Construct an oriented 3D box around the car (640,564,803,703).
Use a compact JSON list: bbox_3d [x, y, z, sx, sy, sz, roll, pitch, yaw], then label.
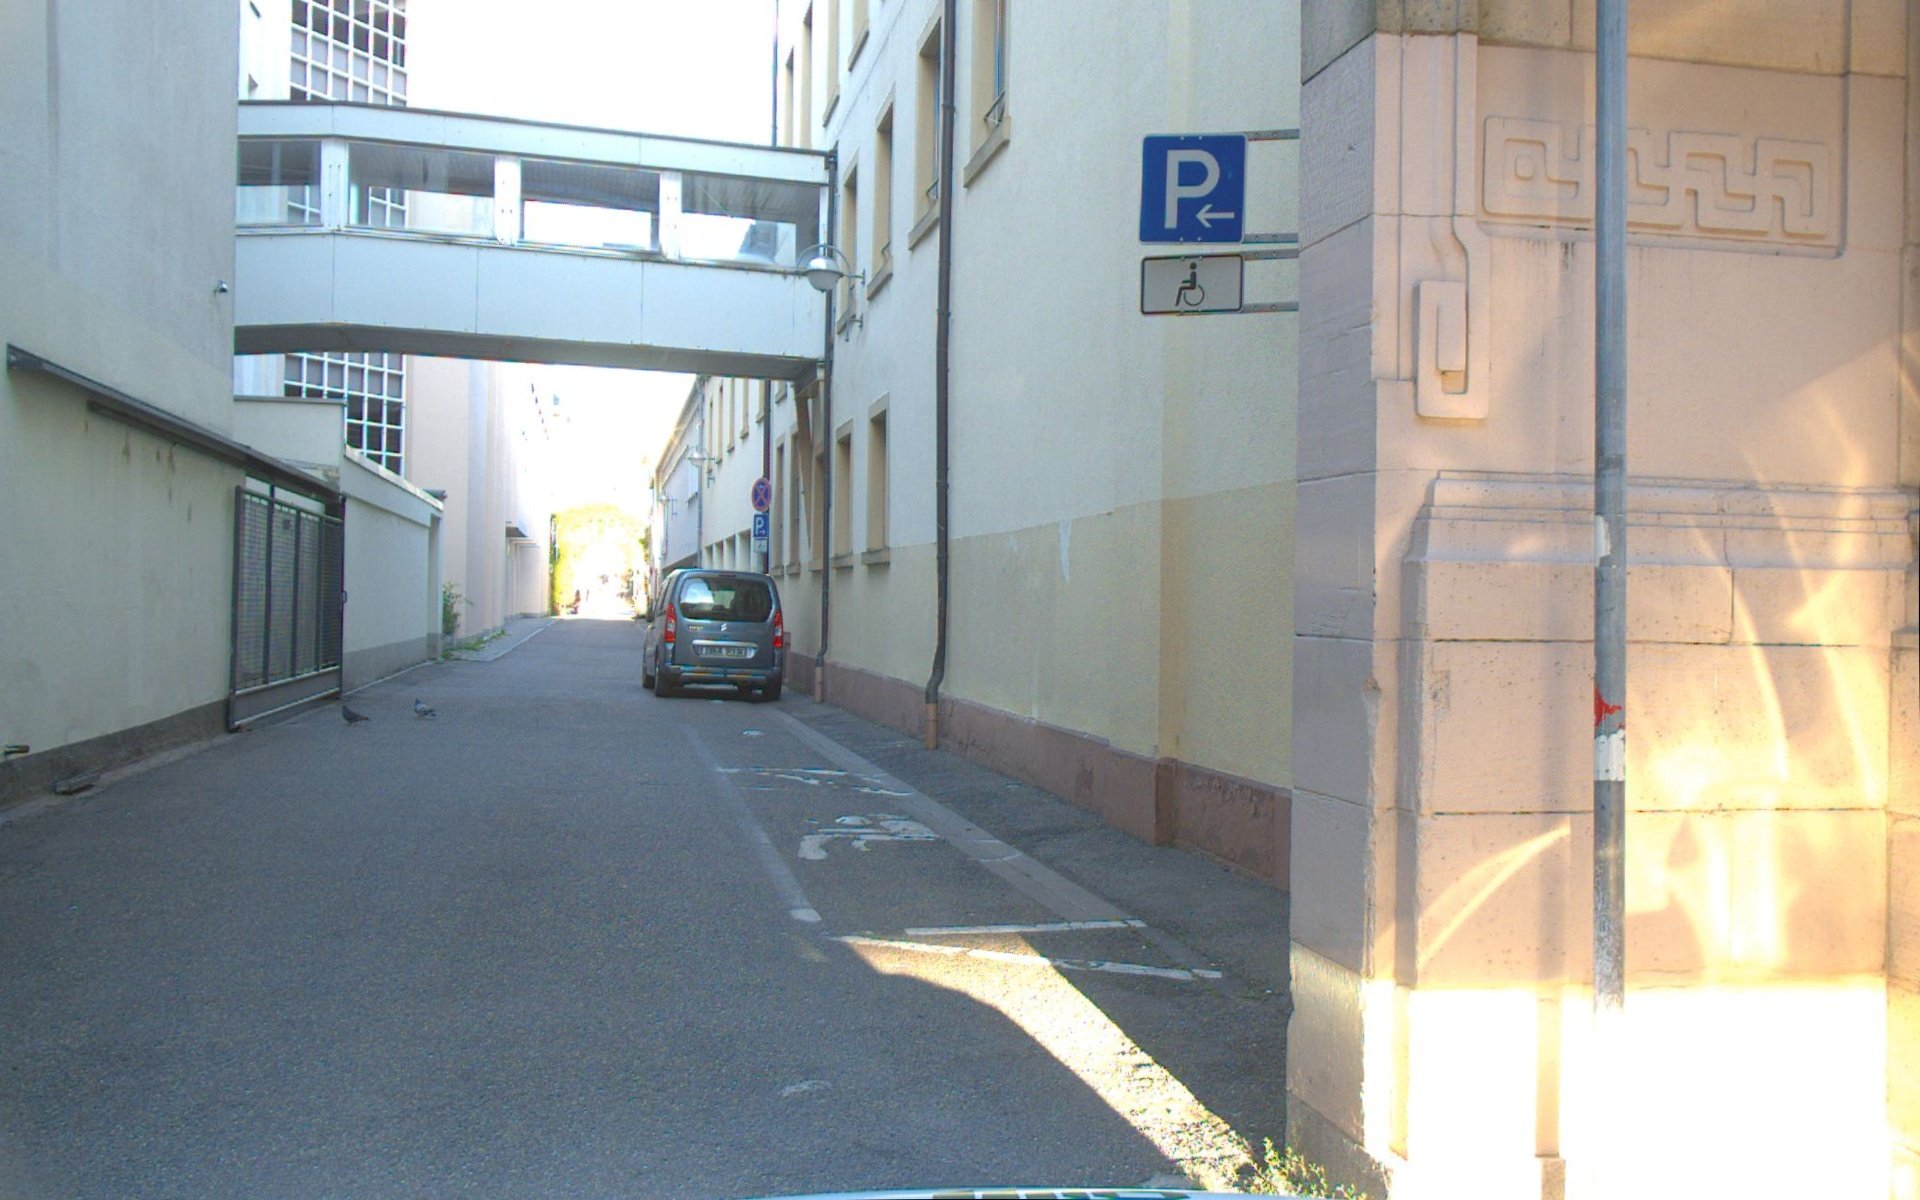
[{"bbox_3d":[-3.630,0.461,24.542,1.824,1.786,4.146,4,-1,-15],"label":"car"}]
